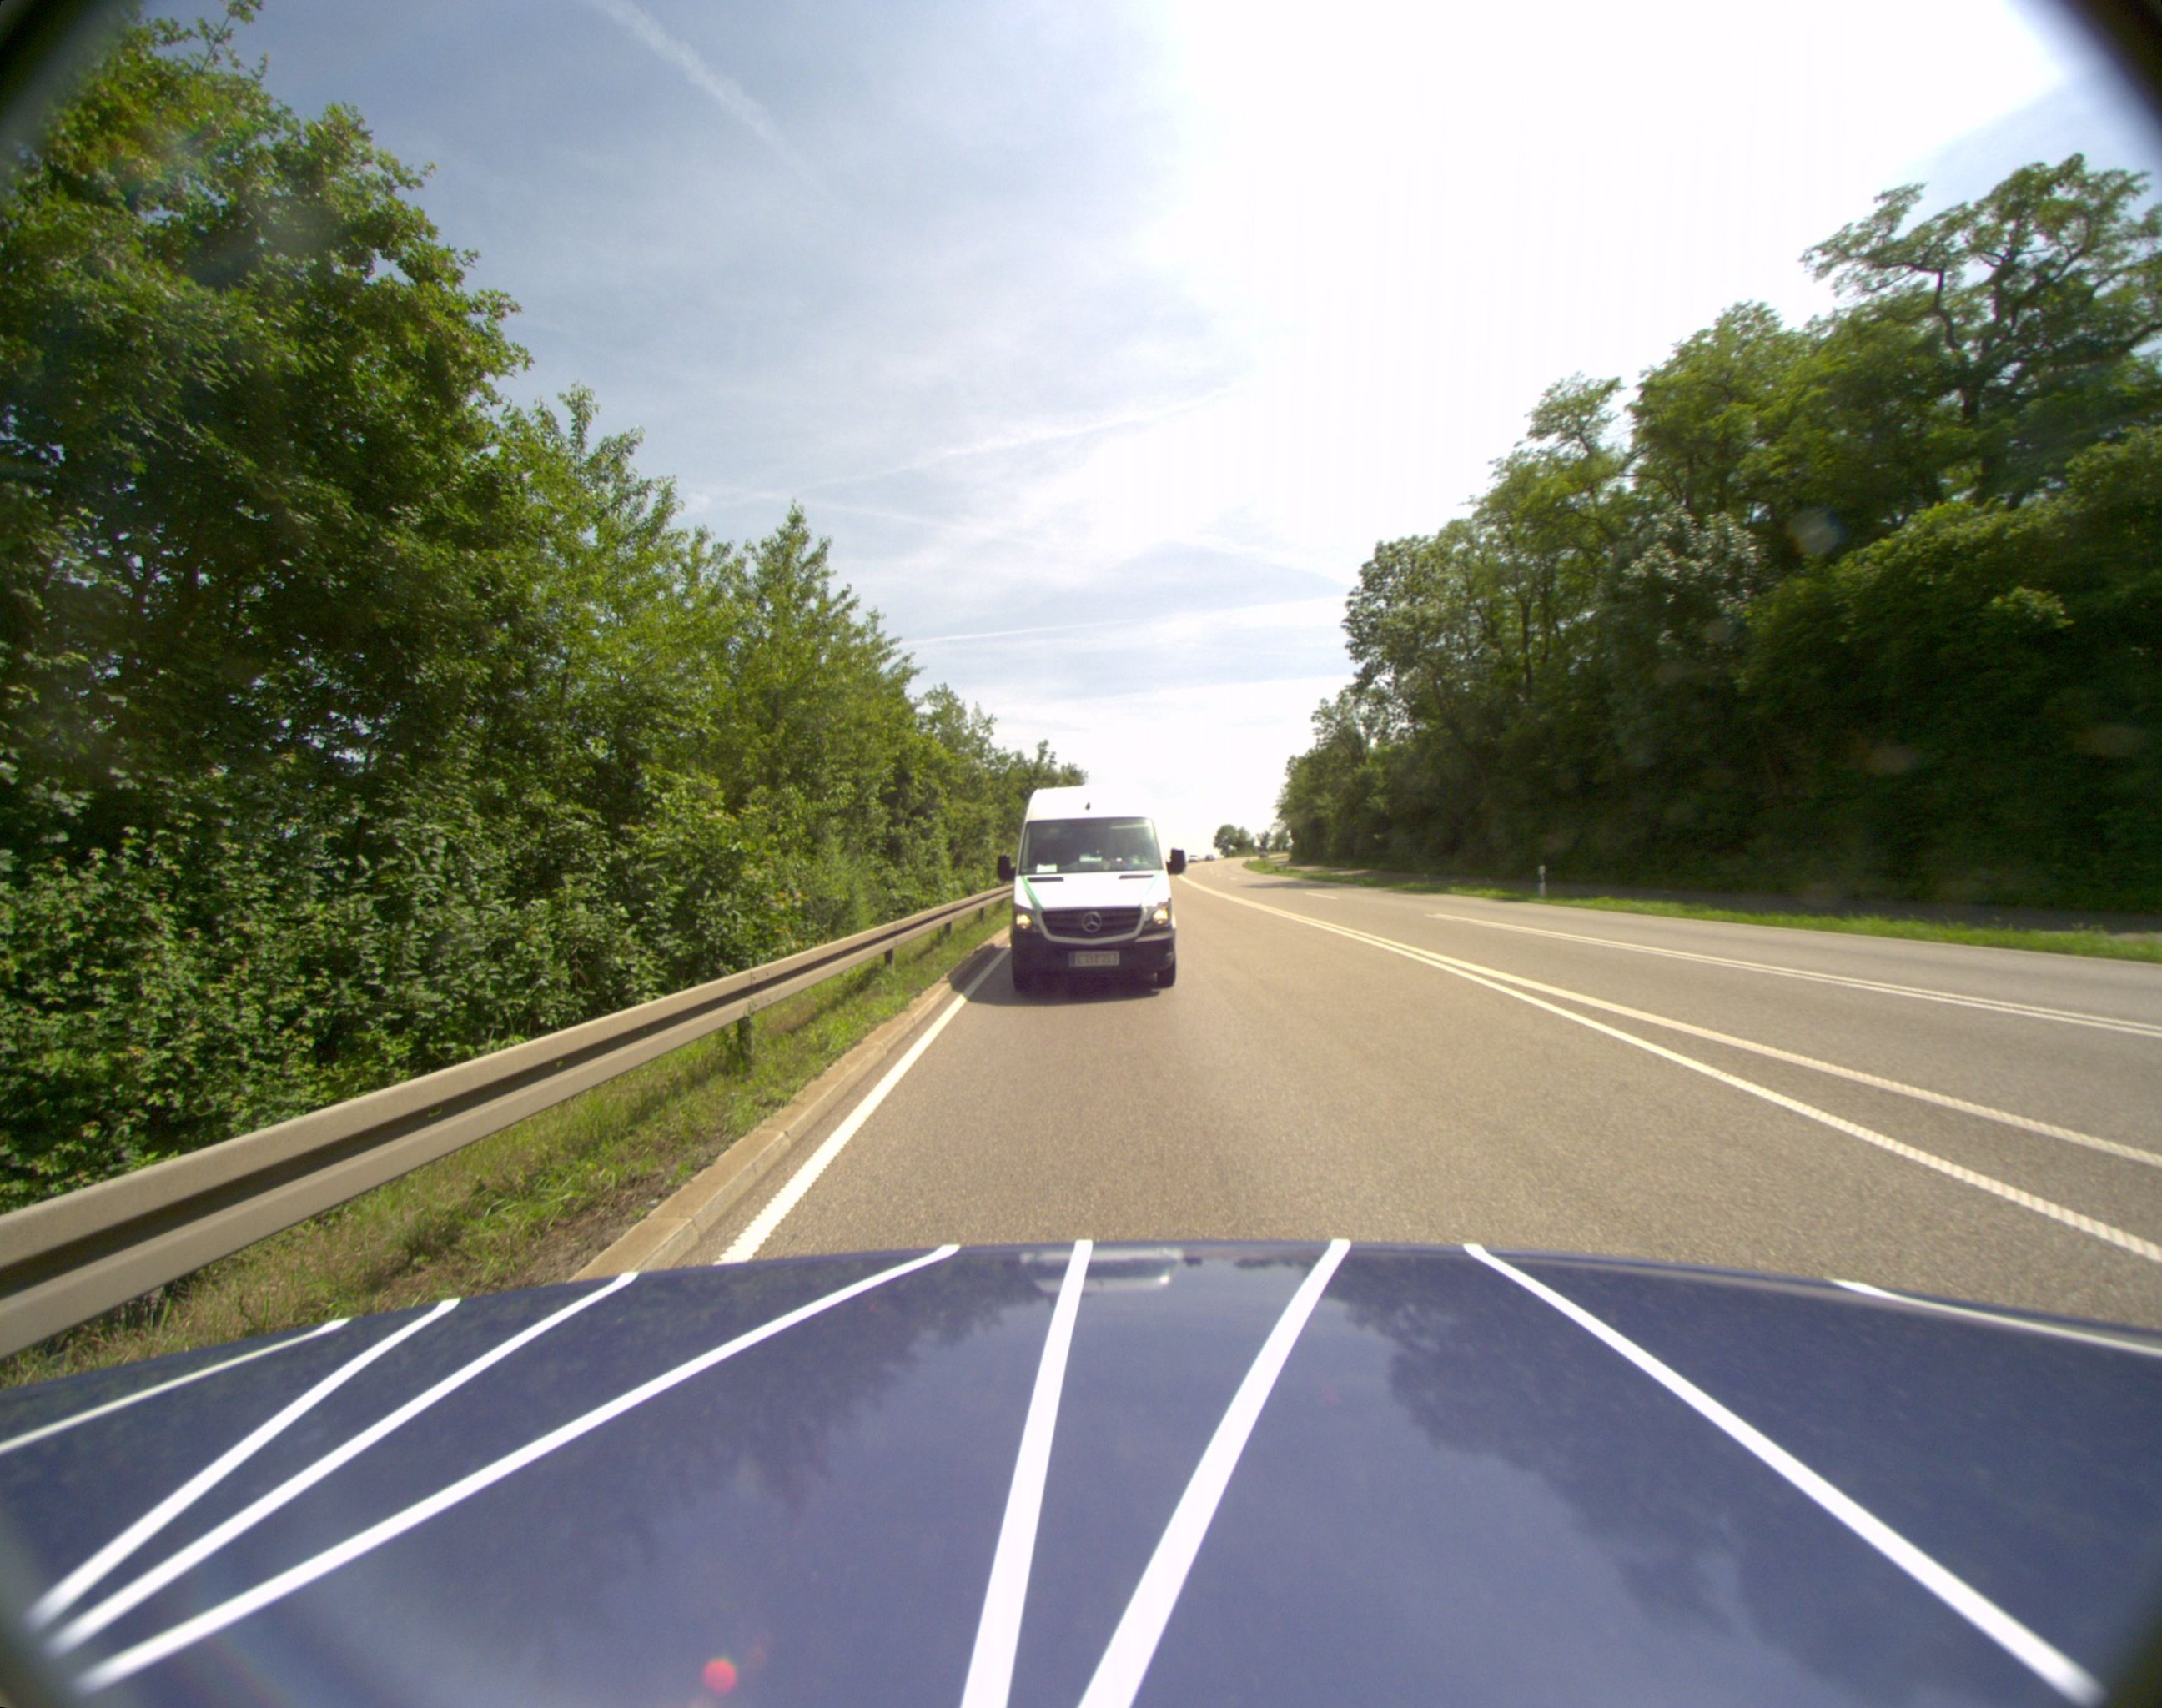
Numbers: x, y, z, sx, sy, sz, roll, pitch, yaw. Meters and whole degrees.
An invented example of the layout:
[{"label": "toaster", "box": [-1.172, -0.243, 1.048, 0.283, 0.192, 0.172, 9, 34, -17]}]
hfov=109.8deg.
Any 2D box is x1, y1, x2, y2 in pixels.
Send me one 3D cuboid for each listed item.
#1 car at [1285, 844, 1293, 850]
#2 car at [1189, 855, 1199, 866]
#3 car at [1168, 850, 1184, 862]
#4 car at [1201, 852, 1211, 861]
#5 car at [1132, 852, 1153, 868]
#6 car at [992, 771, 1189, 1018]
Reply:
[{"label": "car", "box": [65.769, -2.092, 239.950, 1.957, 1.717, 3.917, -2, -1, 23]}, {"label": "car", "box": [23.099, 1.300, 155.315, 1.850, 2.002, 3.875, -2, 1, 13]}, {"label": "car", "box": [16.615, 0.308, 132.823, 1.996, 2.002, 4.005, -2, 0, 16]}, {"label": "car", "box": [28.577, 0.577, 173.418, 1.764, 1.849, 3.814, -2, 1, 17]}, {"label": "car", "box": [7.095, 0.652, 87.277, 1.997, 1.718, 4.002, -2, 1, 10]}, {"label": "car", "box": [0.175, 0.433, 10.506, 1.958, 2.502, 5.267, -2, 0, 2]}]
